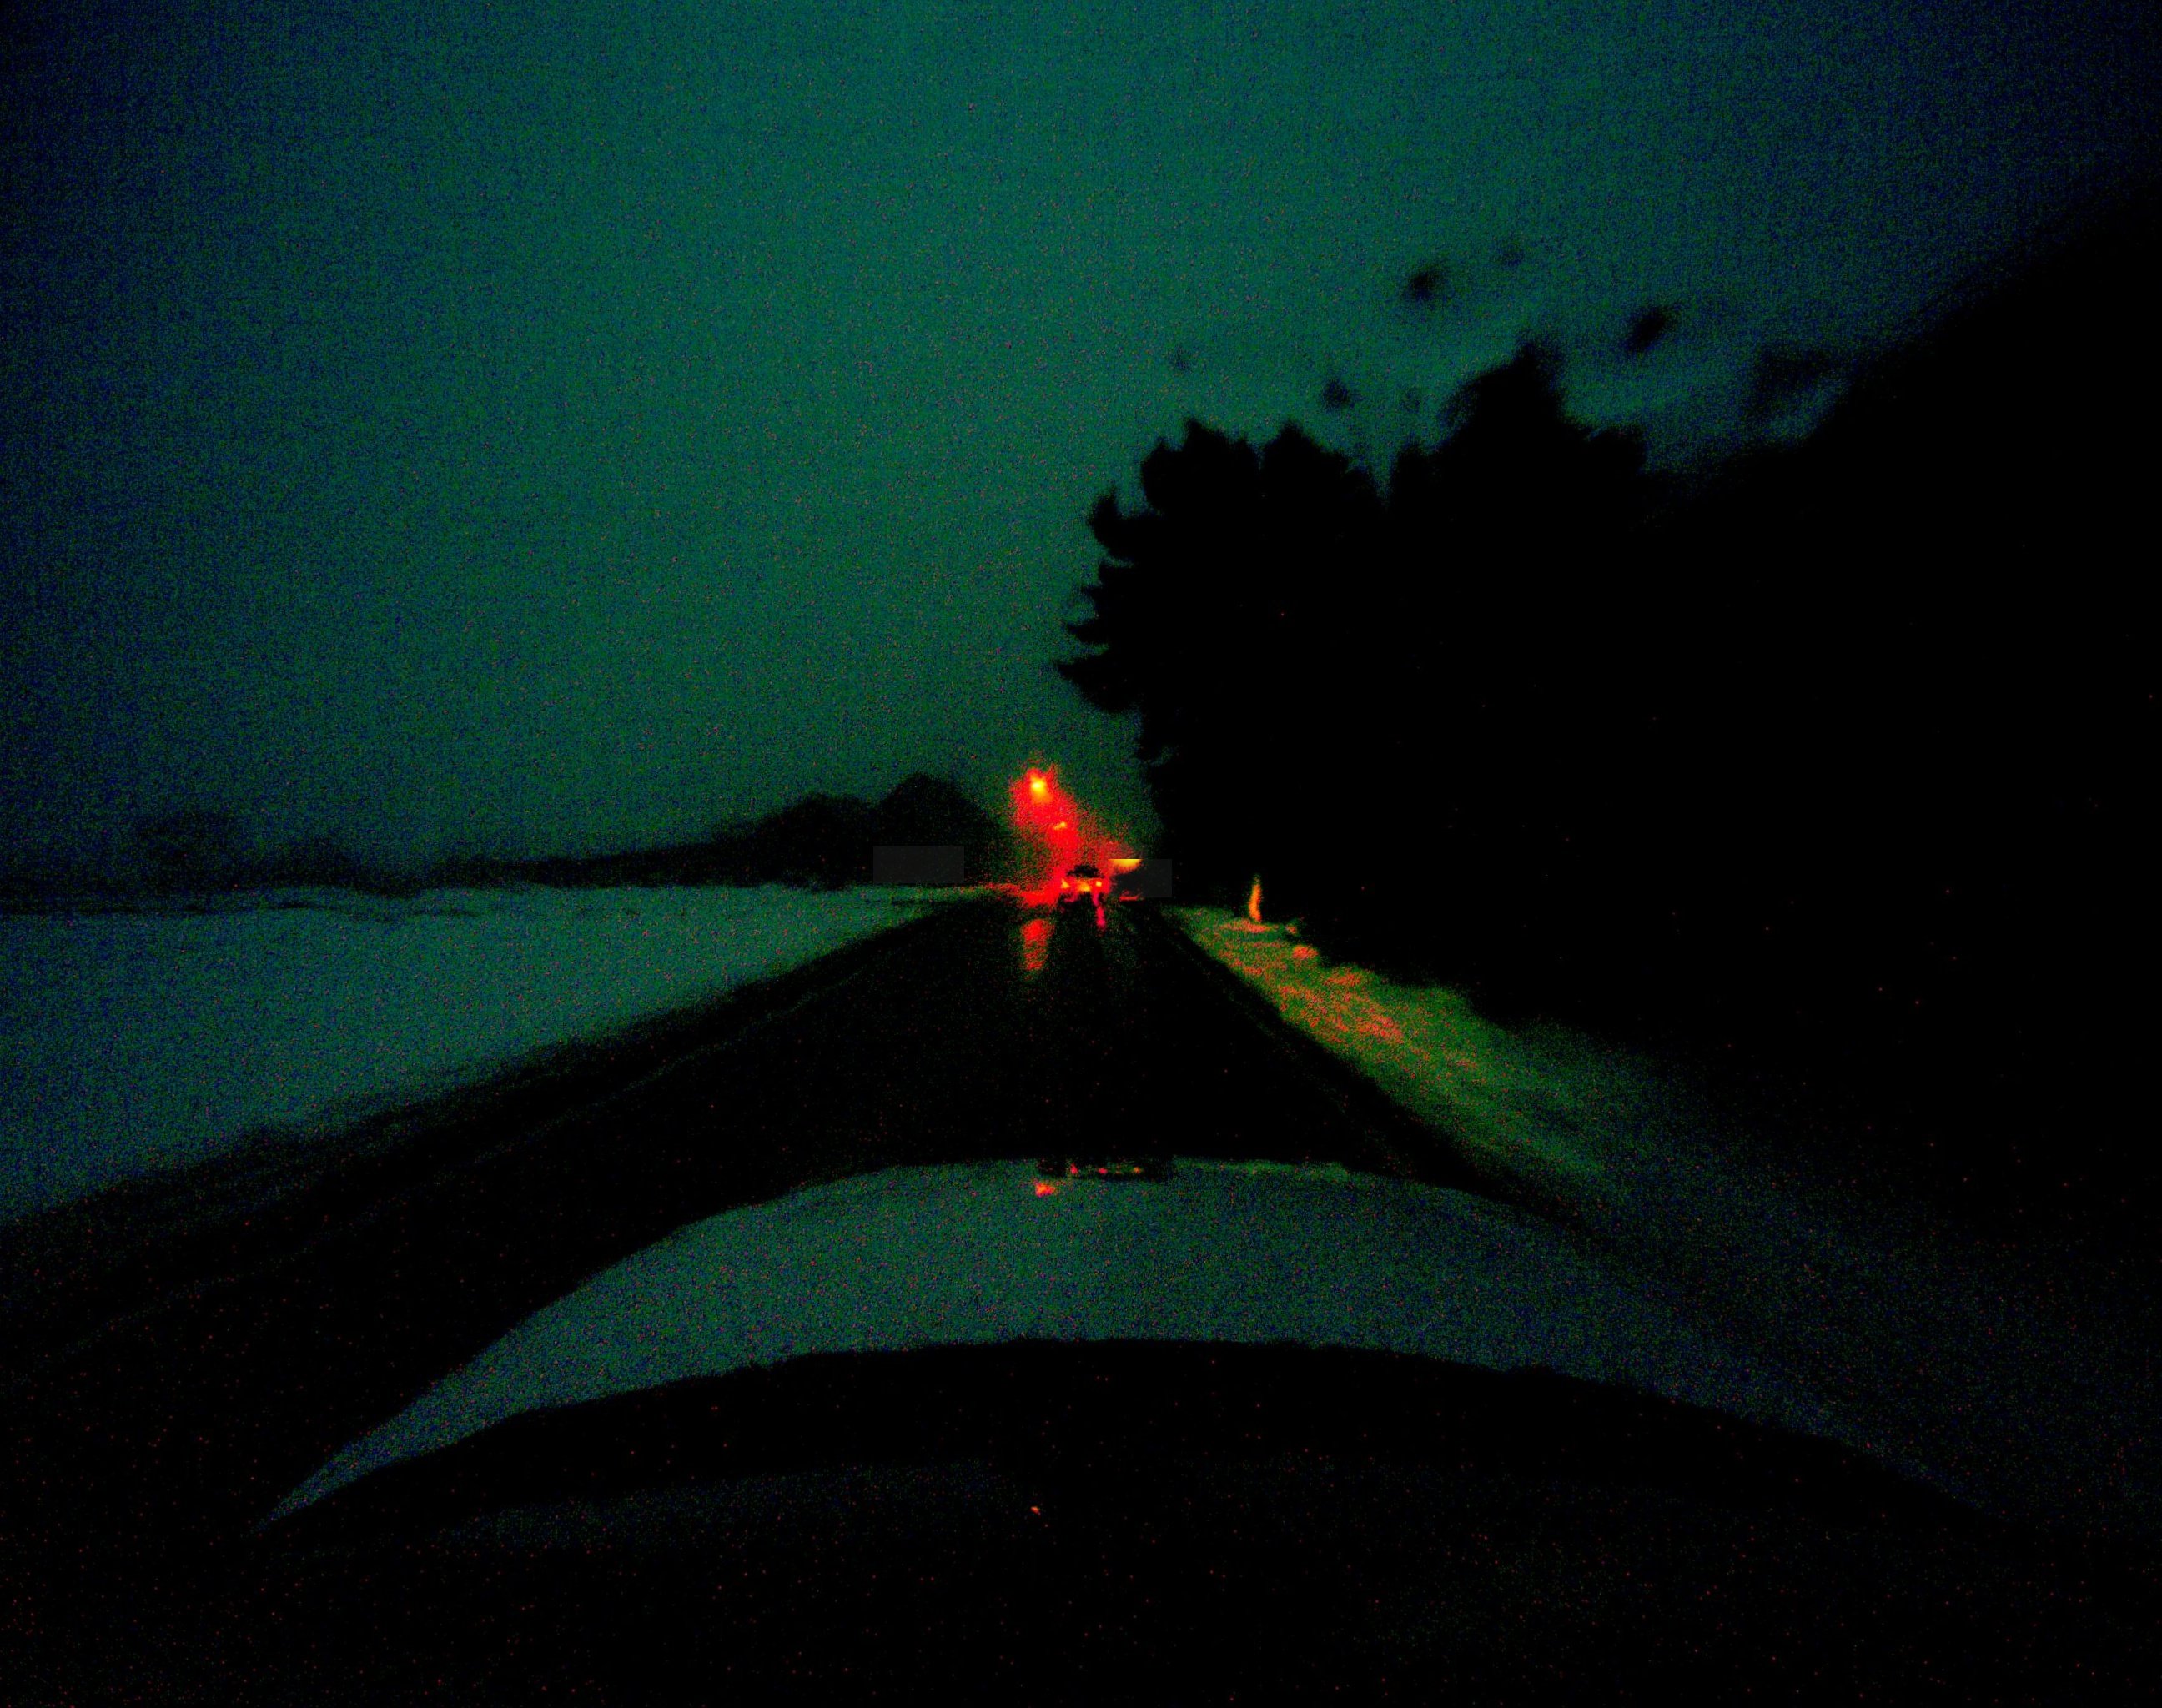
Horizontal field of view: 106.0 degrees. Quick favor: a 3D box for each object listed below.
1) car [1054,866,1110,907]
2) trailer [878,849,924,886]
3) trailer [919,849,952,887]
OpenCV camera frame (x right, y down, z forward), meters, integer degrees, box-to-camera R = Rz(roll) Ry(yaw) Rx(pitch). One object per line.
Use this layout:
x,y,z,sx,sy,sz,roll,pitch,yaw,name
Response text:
0.099,1.249,32.683,1.985,1.508,4.003,-2,-1,3,car
-13.035,0.980,59.261,1.983,2.489,4.018,-2,-1,7,trailer
-10.329,0.995,57.649,1.695,2.605,3.421,-1,-1,-20,trailer
